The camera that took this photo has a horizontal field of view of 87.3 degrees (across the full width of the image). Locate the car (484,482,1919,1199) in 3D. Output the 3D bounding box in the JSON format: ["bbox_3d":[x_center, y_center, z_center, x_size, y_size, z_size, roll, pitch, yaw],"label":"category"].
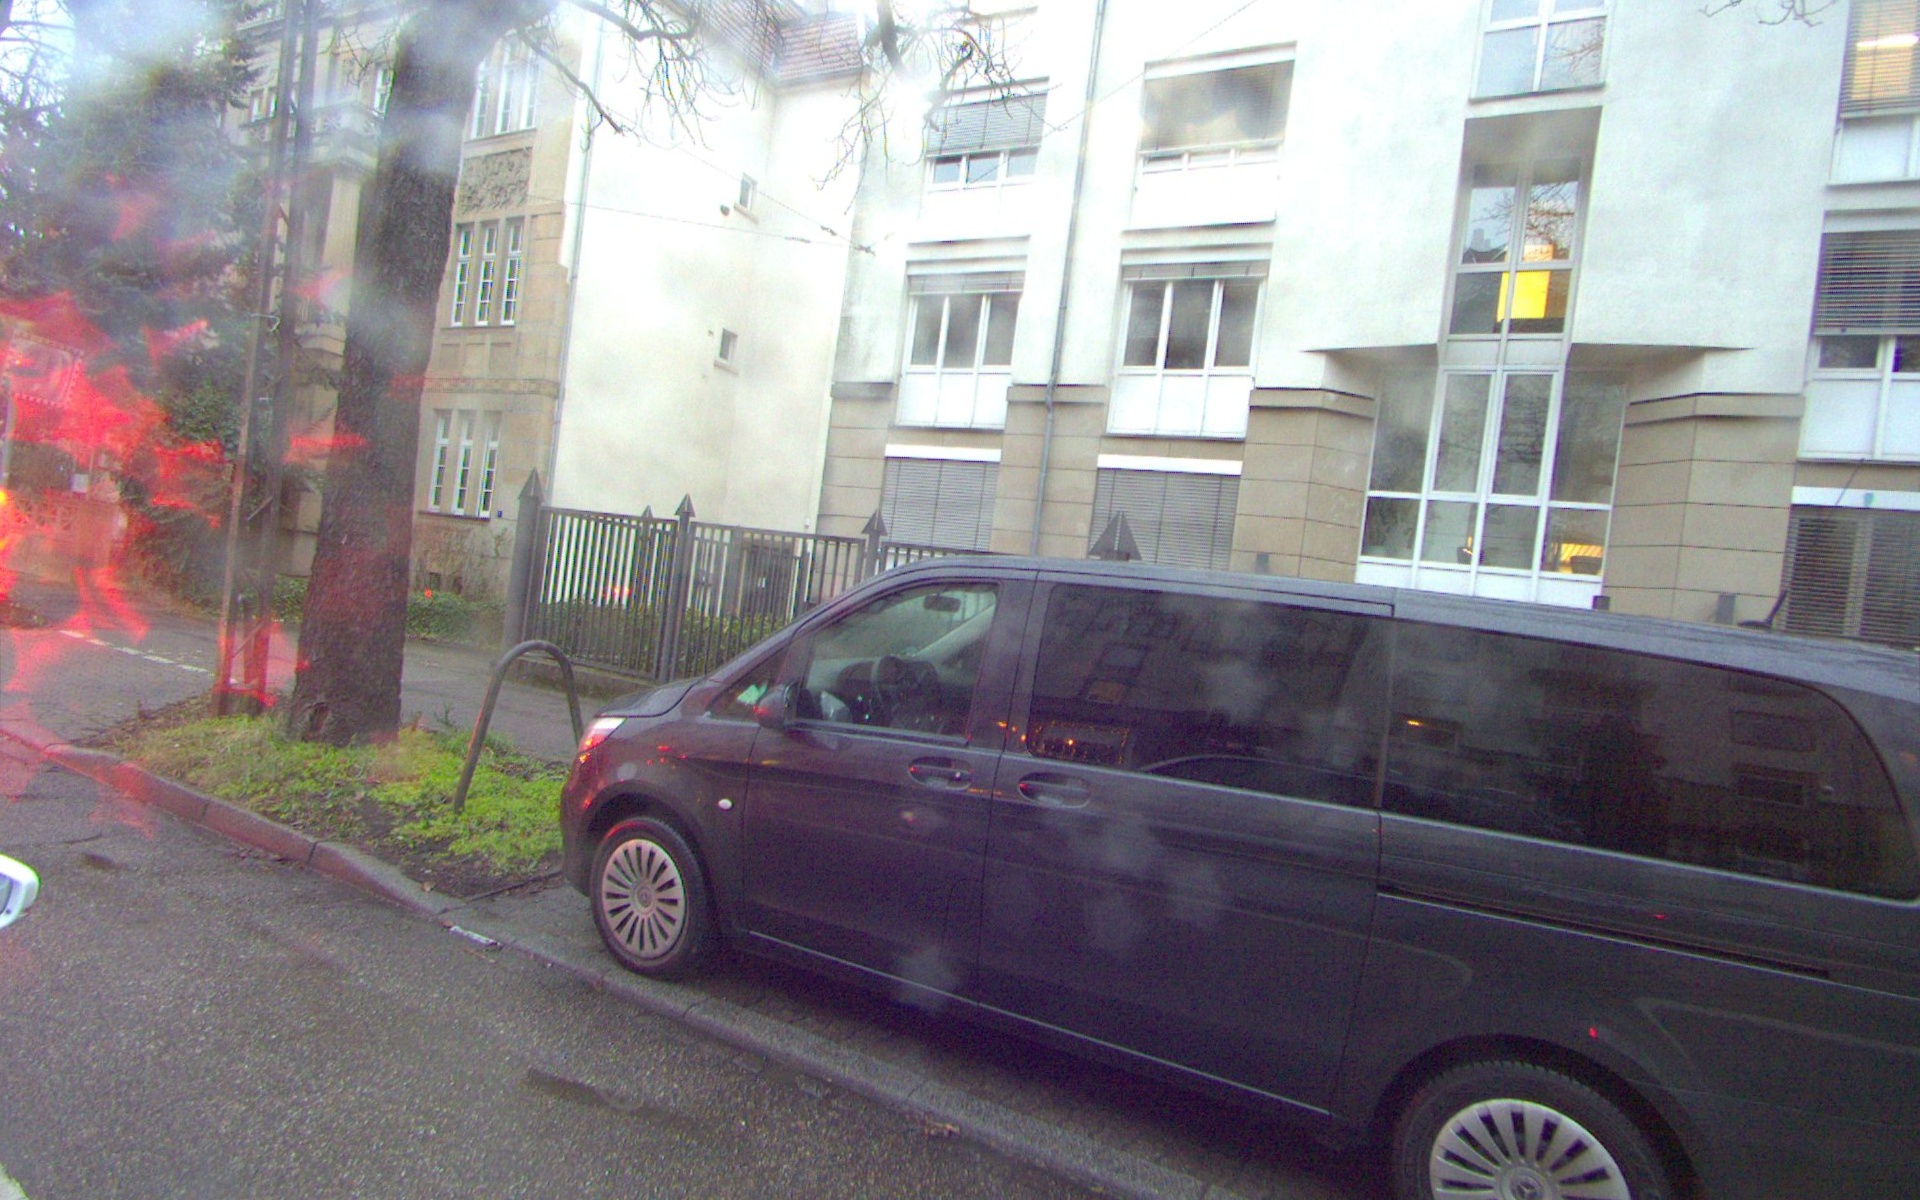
[{"bbox_3d":[0.672,0.774,4.058,4.877,1.899,2.034,7,0,28],"label":"car"}]
